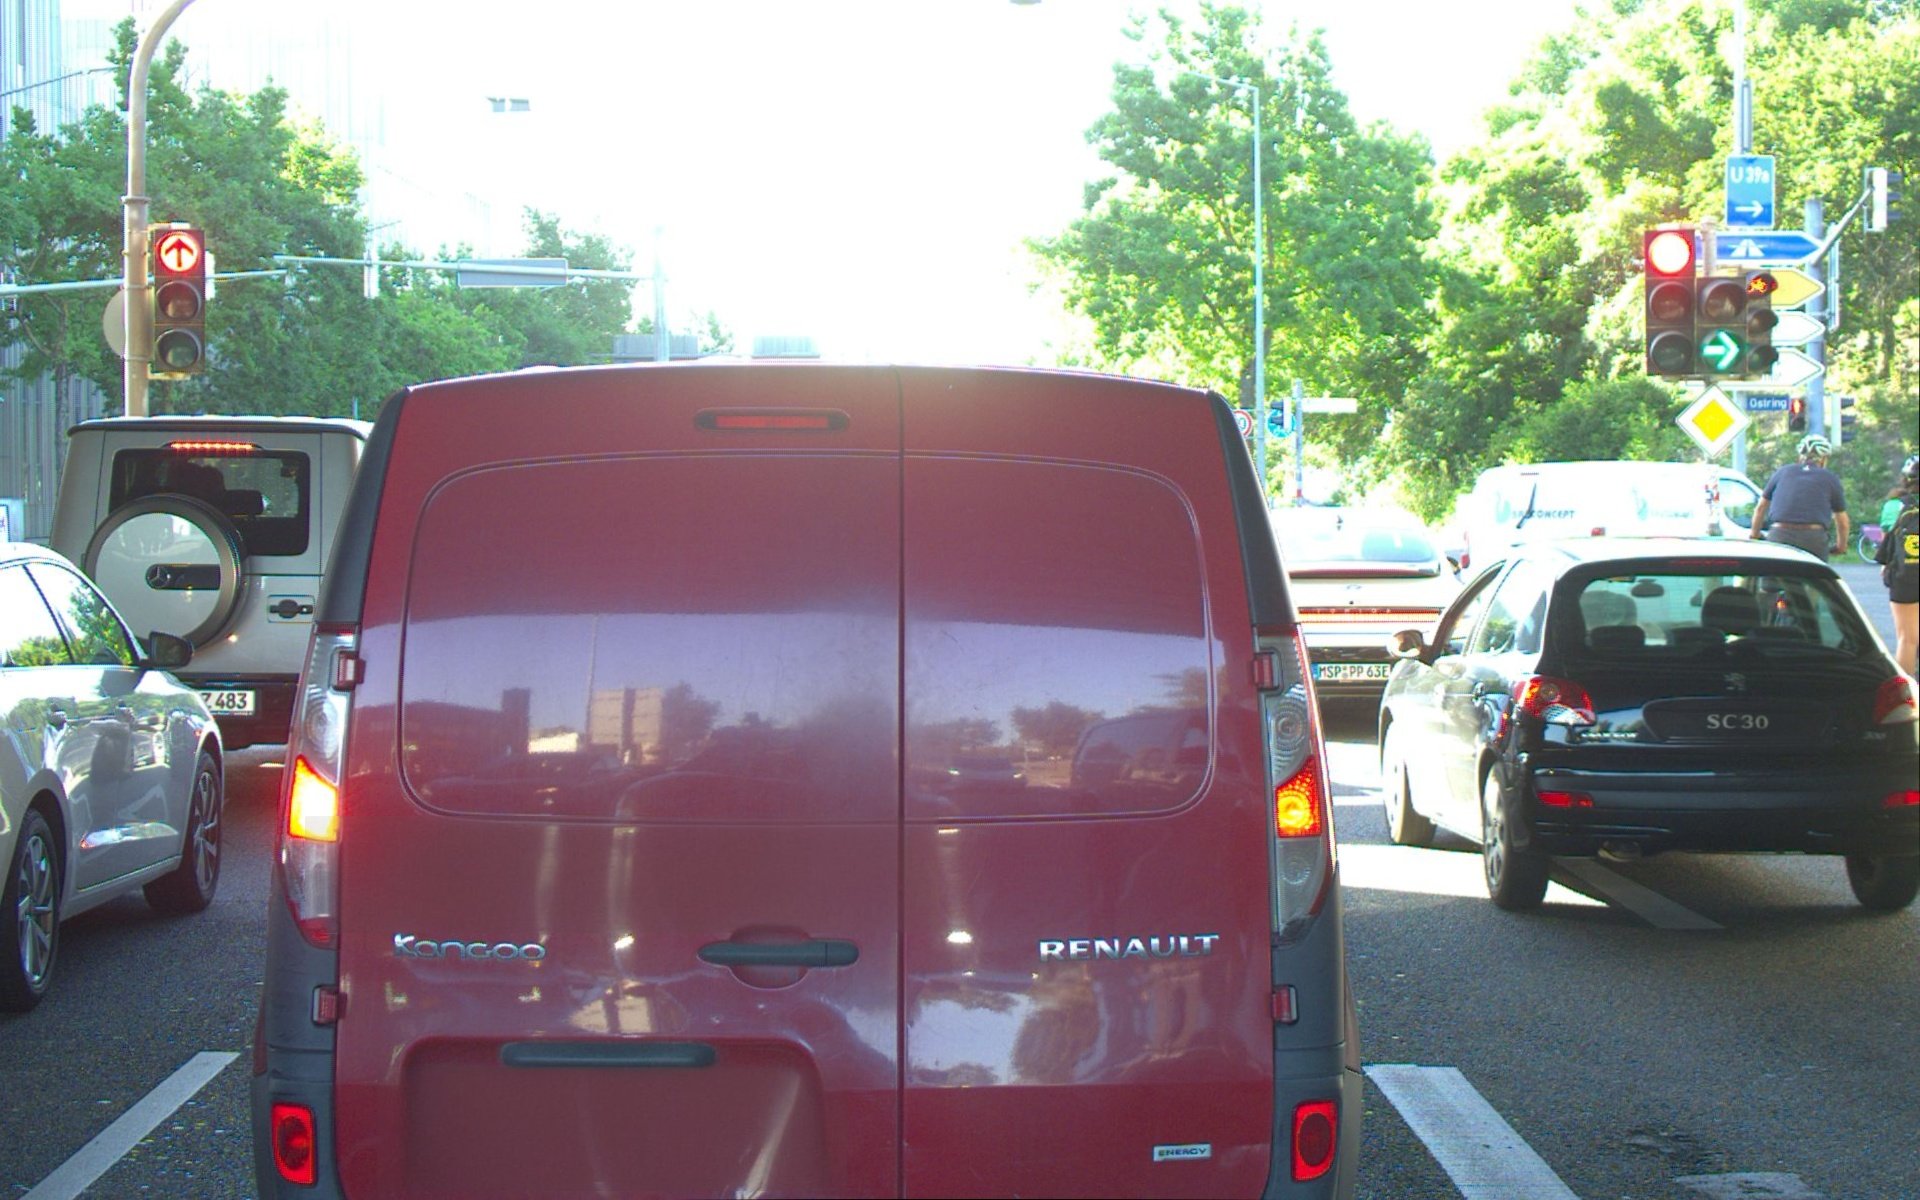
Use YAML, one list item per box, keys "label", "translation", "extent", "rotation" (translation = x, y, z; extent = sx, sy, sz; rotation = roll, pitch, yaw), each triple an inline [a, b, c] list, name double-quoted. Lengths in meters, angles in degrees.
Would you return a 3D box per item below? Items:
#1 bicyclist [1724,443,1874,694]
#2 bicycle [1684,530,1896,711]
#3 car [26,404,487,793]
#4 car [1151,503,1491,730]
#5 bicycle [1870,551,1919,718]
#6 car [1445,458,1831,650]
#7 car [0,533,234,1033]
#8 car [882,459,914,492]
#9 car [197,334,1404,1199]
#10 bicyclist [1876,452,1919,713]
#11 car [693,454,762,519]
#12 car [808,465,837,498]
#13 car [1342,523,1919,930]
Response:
- label: "bicyclist"
  translation: [5.650, -0.214, 23.198]
  extent: [0.746, 1.650, 0.886]
  rotation: [1, 1, -1]
- label: "bicycle"
  translation: [5.664, 0.109, 23.611]
  extent: [0.765, 1.142, 2.470]
  rotation: [-2, 1, -1]
- label: "car"
  translation: [-3.731, -0.046, 18.864]
  extent: [1.813, 1.897, 3.814]
  rotation: [1, 1, -1]
- label: "car"
  translation: [2.464, 0.060, 24.552]
  extent: [1.745, 1.451, 4.665]
  rotation: [1, 1, -2]
- label: "bicycle"
  translation: [6.187, 0.212, 21.764]
  extent: [0.677, 1.020, 1.528]
  rotation: [1, 1, 10]
- label: "car"
  translation: [6.965, -0.529, 35.055]
  extent: [1.818, 1.827, 4.289]
  rotation: [3, 4, 44]
- label: "car"
  translation: [-3.624, 0.480, 11.498]
  extent: [1.692, 1.405, 3.814]
  rotation: [1, 1, -2]
- label: "car"
  translation: [-3.965, -7.981, 220.692]
  extent: [1.993, 2.007, 4.000]
  rotation: [1, 1, -1]
- label: "car"
  translation: [-0.256, 0.468, 6.942]
  extent: [1.719, 1.758, 4.000]
  rotation: [1, 1, -1]
- label: "bicyclist"
  translation: [6.182, -0.105, 21.713]
  extent: [0.677, 1.623, 0.644]
  rotation: [1, 0, 10]
- label: "car"
  translation: [-7.527, -3.673, 111.721]
  extent: [1.993, 2.007, 4.000]
  rotation: [1, 1, -1]
- label: "car"
  translation: [-8.976, -7.745, 225.062]
  extent: [1.748, 2.007, 3.845]
  rotation: [1, 1, -1]
- label: "car"
  translation: [2.772, 0.421, 14.245]
  extent: [1.745, 1.451, 3.717]
  rotation: [1, 1, -3]
